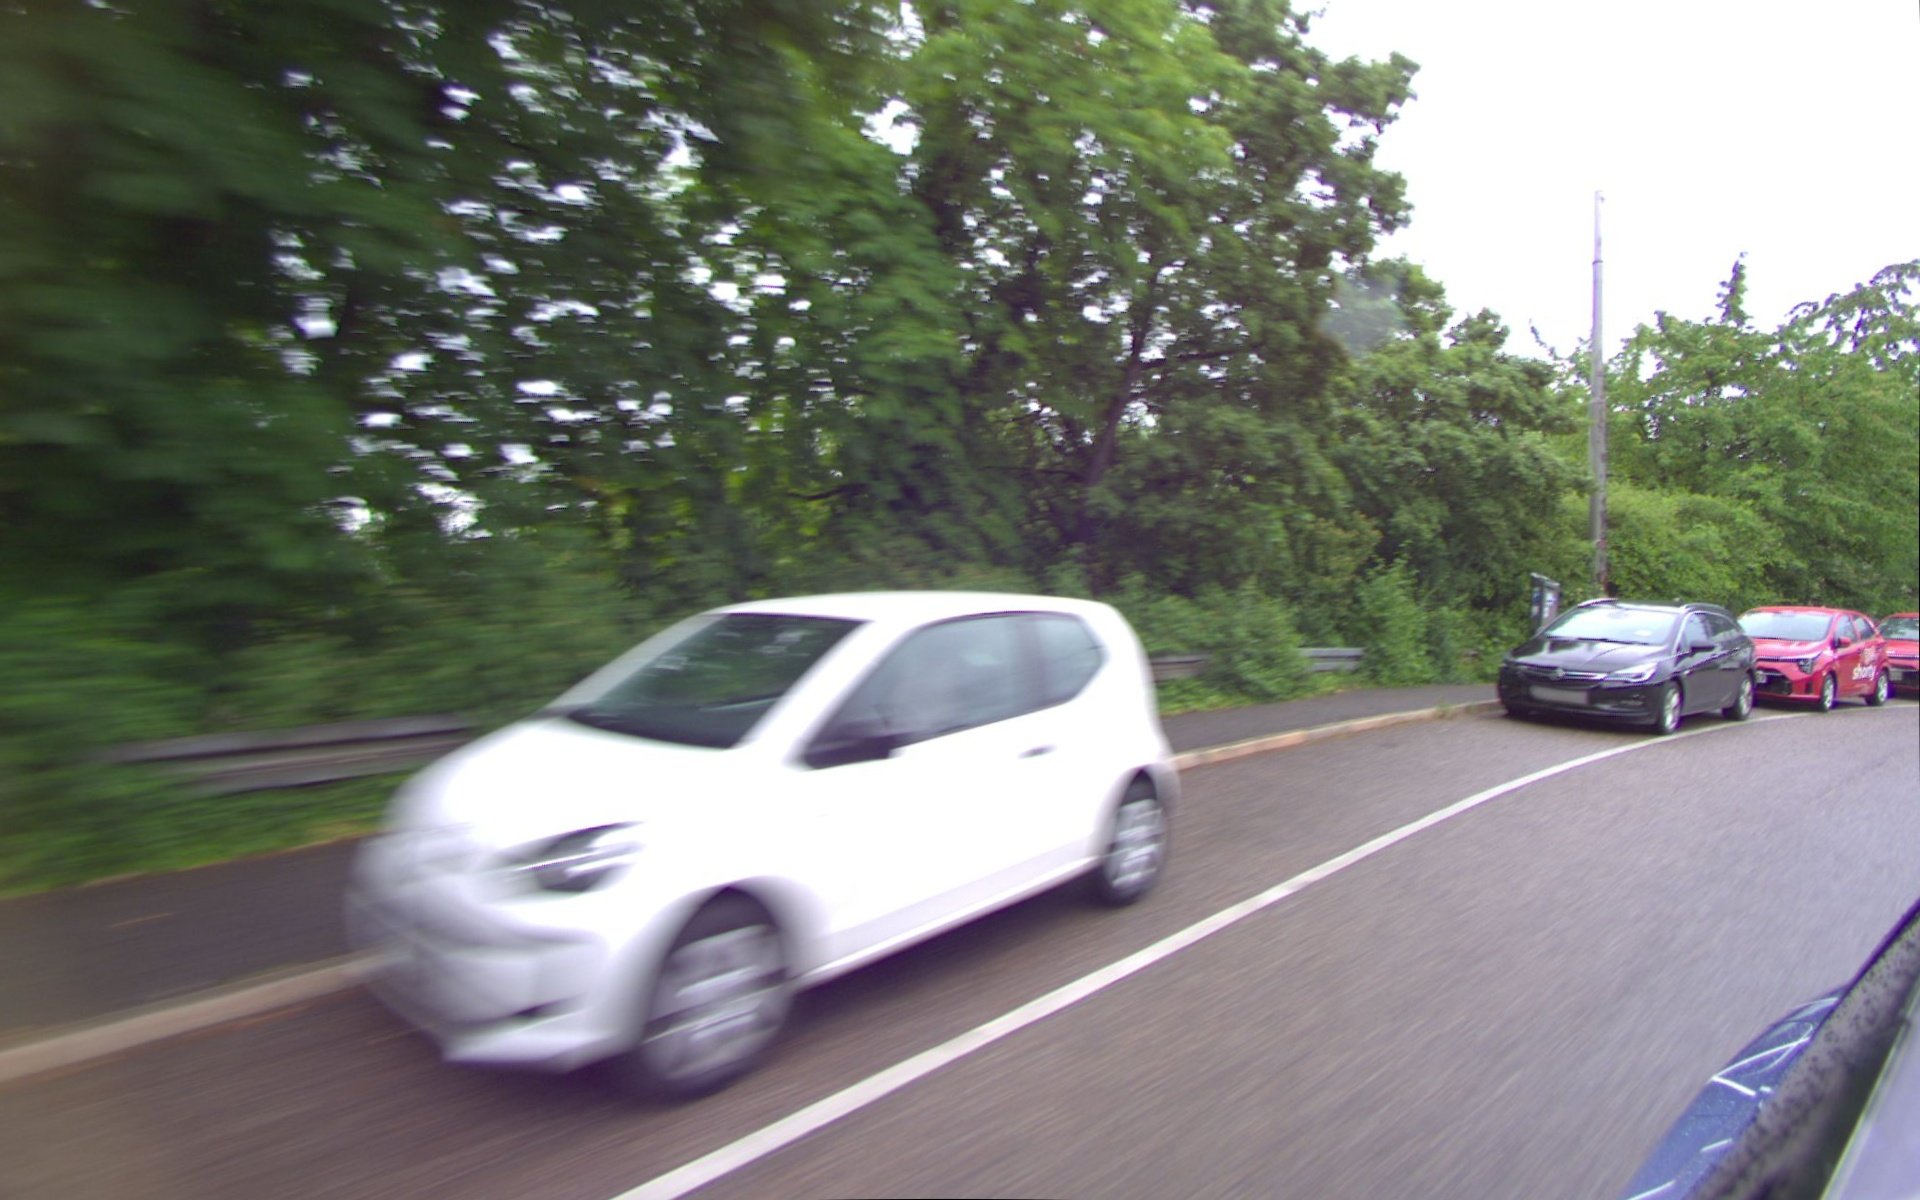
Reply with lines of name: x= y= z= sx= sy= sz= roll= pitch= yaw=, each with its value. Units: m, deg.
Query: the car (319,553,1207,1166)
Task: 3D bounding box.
car: x=-0.495 y=0.641 z=4.415 sx=1.583 sy=1.521 sz=3.612 roll=-1 pitch=0 yaw=41

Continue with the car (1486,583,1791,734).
car: x=8.539 y=0.631 z=12.586 sx=4.509 sy=1.532 sz=1.723 roll=1 pitch=1 yaw=-37

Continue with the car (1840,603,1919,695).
car: x=17.458 y=0.847 z=17.856 sx=3.729 sy=1.479 sz=1.649 roll=1 pitch=2 yaw=-28

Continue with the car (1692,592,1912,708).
car: x=12.903 y=0.723 z=15.458 sx=3.604 sy=1.532 sz=1.564 roll=2 pitch=1 yaw=-33
